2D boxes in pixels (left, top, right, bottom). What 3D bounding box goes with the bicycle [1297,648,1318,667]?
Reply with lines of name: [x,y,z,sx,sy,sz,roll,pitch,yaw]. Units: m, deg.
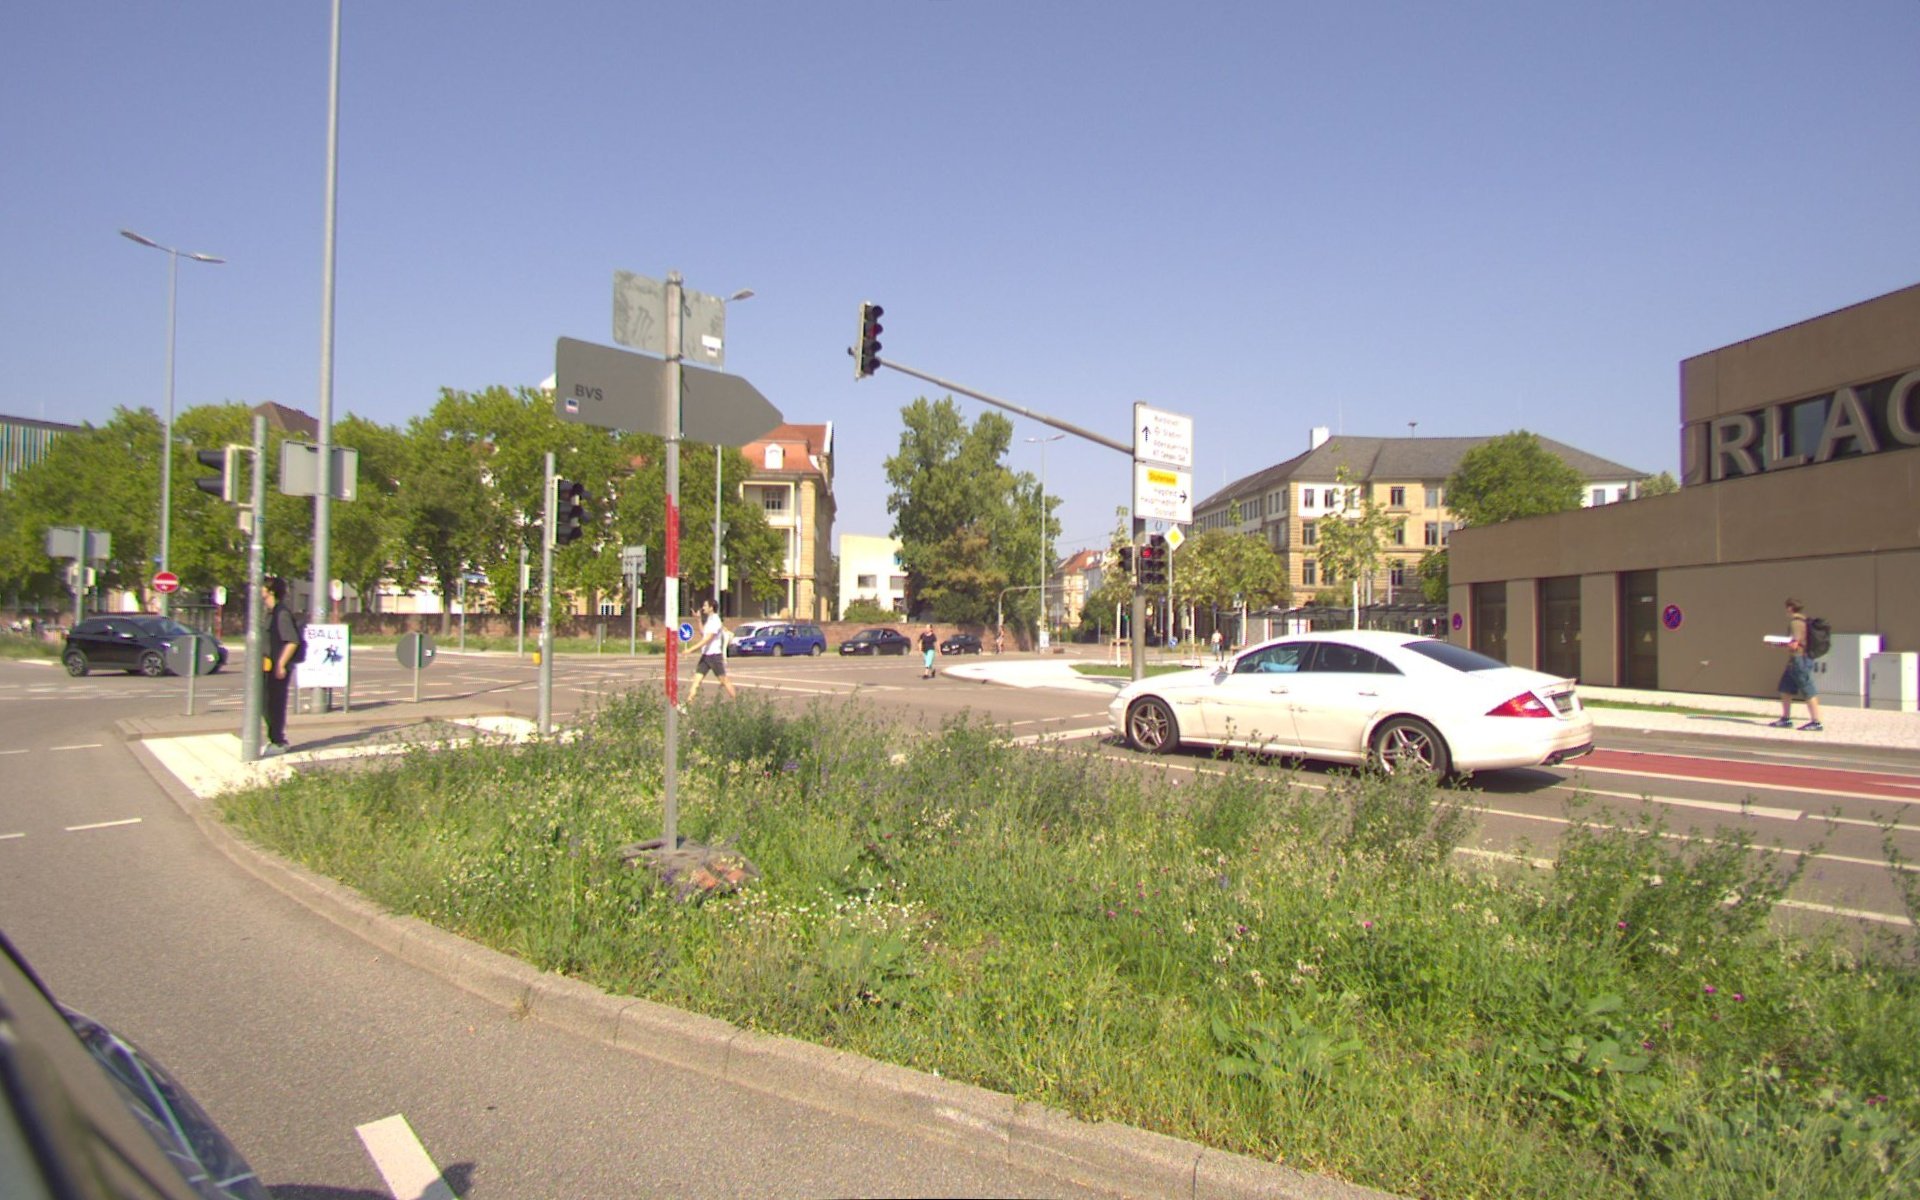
bicycle: [17.388,2.858,50.677,0.395,0.899,1.589,1,-2,-4]

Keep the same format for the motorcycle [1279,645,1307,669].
motorcycle: [14.744,2.531,44.852,0.535,1.017,1.747,1,-2,-4]

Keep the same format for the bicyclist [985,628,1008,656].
bicyclist: [2.298,2.640,63.759,0.885,1.759,1.353,-4,-4,33]

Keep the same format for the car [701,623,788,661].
car: [-10.204,1.995,48.073,1.752,1.691,3.954,-4,-4,33]

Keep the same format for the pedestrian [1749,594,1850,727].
pedestrian: [11.614,0.817,14.029,0.872,1.773,0.674,-1,-1,21]

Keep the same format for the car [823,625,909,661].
car: [-4.254,1.972,46.409,1.992,1.564,3.959,-1,-2,30]

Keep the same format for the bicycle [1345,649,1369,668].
bicycle: [19.079,2.813,48.698,0.404,0.899,1.589,1,-2,-4]

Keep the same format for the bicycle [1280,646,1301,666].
bicycle: [16.466,2.799,50.501,0.415,0.975,1.589,1,-2,-4]

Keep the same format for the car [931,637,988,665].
car: [-0.005,3.292,65.621,1.752,1.691,3.954,-4,-4,33]

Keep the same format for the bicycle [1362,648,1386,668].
bicycle: [20.119,2.808,49.169,0.404,0.899,1.589,1,-2,-4]

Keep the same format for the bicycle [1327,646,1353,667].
bicycle: [18.232,2.706,48.578,0.525,0.994,1.715,1,-2,-4]

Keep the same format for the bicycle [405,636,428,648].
bicycle: [-40.733,3.147,75.871,1.531,0.842,0.433,0,-2,6]

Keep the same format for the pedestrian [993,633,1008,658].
pedestrian: [3.228,3.628,80.743,0.821,2.029,0.894,-5,-5,44]

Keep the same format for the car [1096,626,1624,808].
car: [3.863,0.999,10.541,1.820,1.372,4.824,0,-1,-43]

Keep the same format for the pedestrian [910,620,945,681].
pedestrian: [-0.845,1.322,26.704,0.746,1.577,0.664,1,-2,13]

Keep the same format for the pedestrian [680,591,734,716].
pedestrian: [-3.850,0.809,15.408,0.683,1.847,0.572,1,-2,-24]

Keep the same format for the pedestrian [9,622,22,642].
pedestrian: [-76.545,2.615,82.010,0.497,1.583,0.533,0,-2,11]

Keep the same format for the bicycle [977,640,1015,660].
bicycle: [2.268,3.159,63.658,0.885,1.214,3.043,-4,-4,33]

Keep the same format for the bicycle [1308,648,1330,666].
bicycle: [17.949,2.839,50.652,0.404,0.899,1.589,1,-2,-4]

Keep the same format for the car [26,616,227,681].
car: [-21.852,1.242,26.559,4.675,1.590,1.843,0,-2,18]

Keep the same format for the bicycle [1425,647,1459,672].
bicycle: [20.905,2.574,43.921,0.455,1.017,1.876,1,-2,-4]

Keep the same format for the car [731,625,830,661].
car: [-7.166,1.709,40.782,1.601,1.339,4.290,-1,-2,29]

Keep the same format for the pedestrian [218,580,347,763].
pedestrian: [-7.288,0.724,10.897,1.066,1.853,0.731,0,0,-41]
